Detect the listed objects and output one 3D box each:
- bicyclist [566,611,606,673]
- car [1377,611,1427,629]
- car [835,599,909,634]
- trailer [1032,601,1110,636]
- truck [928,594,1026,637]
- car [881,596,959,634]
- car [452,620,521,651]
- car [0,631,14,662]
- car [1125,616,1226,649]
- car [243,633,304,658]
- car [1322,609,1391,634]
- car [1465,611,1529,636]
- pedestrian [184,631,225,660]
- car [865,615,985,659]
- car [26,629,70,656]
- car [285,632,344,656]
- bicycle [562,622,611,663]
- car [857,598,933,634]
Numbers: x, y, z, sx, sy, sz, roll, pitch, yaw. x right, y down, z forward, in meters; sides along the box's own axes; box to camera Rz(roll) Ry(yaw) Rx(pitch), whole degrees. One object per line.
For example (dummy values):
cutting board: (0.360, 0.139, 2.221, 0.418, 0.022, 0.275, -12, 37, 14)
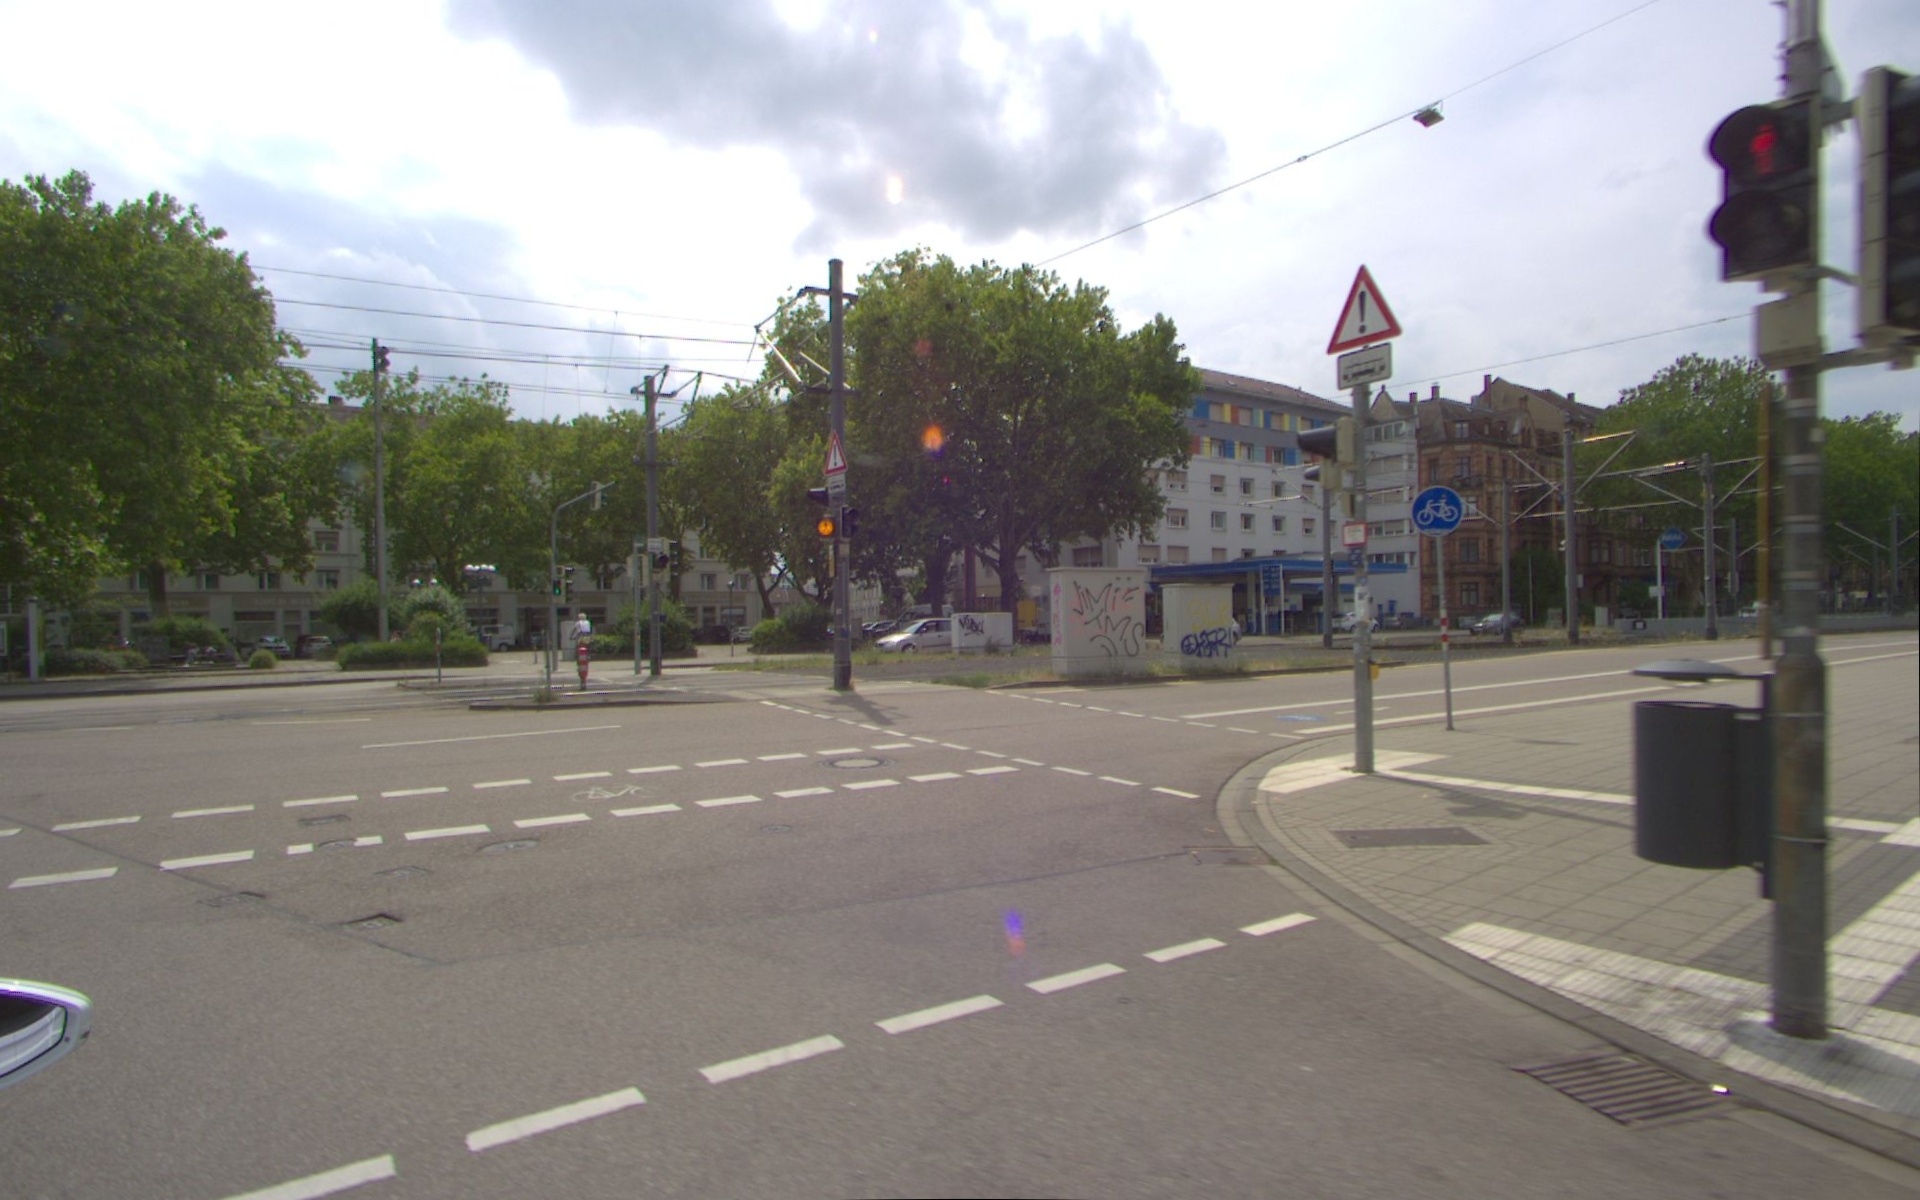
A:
bicyclist: (-10.420, 1.155, 27.893, 0.894, 1.705, 0.752, -1, 0, -34)
car: (37.215, 1.690, 84.280, 4.412, 1.433, 1.748, 0, -1, -35)
car: (-6.935, 1.265, 78.828, 5.272, 2.617, 2.481, 0, -2, -37)
trailer: (6.448, 1.063, 58.165, 4.379, 1.951, 1.842, 0, -1, -35)
truck: (0.991, 0.993, 63.783, 3.042, 2.611, 6.466, -1, -1, -36)
car: (-2.866, 1.054, 72.558, 5.272, 2.617, 2.165, 0, -2, -37)
car: (-31.675, 2.339, 66.998, 3.949, 1.907, 1.845, -1, -1, -35)
car: (-55.519, 2.672, 56.901, 3.947, 1.706, 1.799, -2, -1, 36)
car: (10.171, 1.540, 47.177, 4.733, 1.417, 1.751, 0, -2, -31)
car: (-44.281, 2.904, 64.586, 3.947, 1.523, 1.987, -2, -1, 36)
car: (26.688, 1.452, 67.401, 4.556, 1.534, 1.985, 0, -2, -33)
car: (34.117, 1.485, 63.597, 3.944, 1.417, 1.751, 0, -2, -31)
pedestrian: (-34.812, 2.112, 46.118, 1.422, 1.252, 1.088, -2, 1, 35)
car: (-1.213, 1.310, 35.381, 3.944, 1.417, 1.617, 0, -2, -31)
car: (-60.058, 2.767, 65.981, 1.789, 1.706, 3.971, -1, -1, -37)
car: (-42.720, 2.904, 66.264, 3.947, 1.539, 1.987, -2, -1, 36)
bicycle: (-10.408, 1.158, 27.885, 0.893, 1.089, 1.958, 0, -1, -33)
car: (-4.967, 1.217, 76.659, 5.272, 2.617, 2.481, 0, -2, -37)
